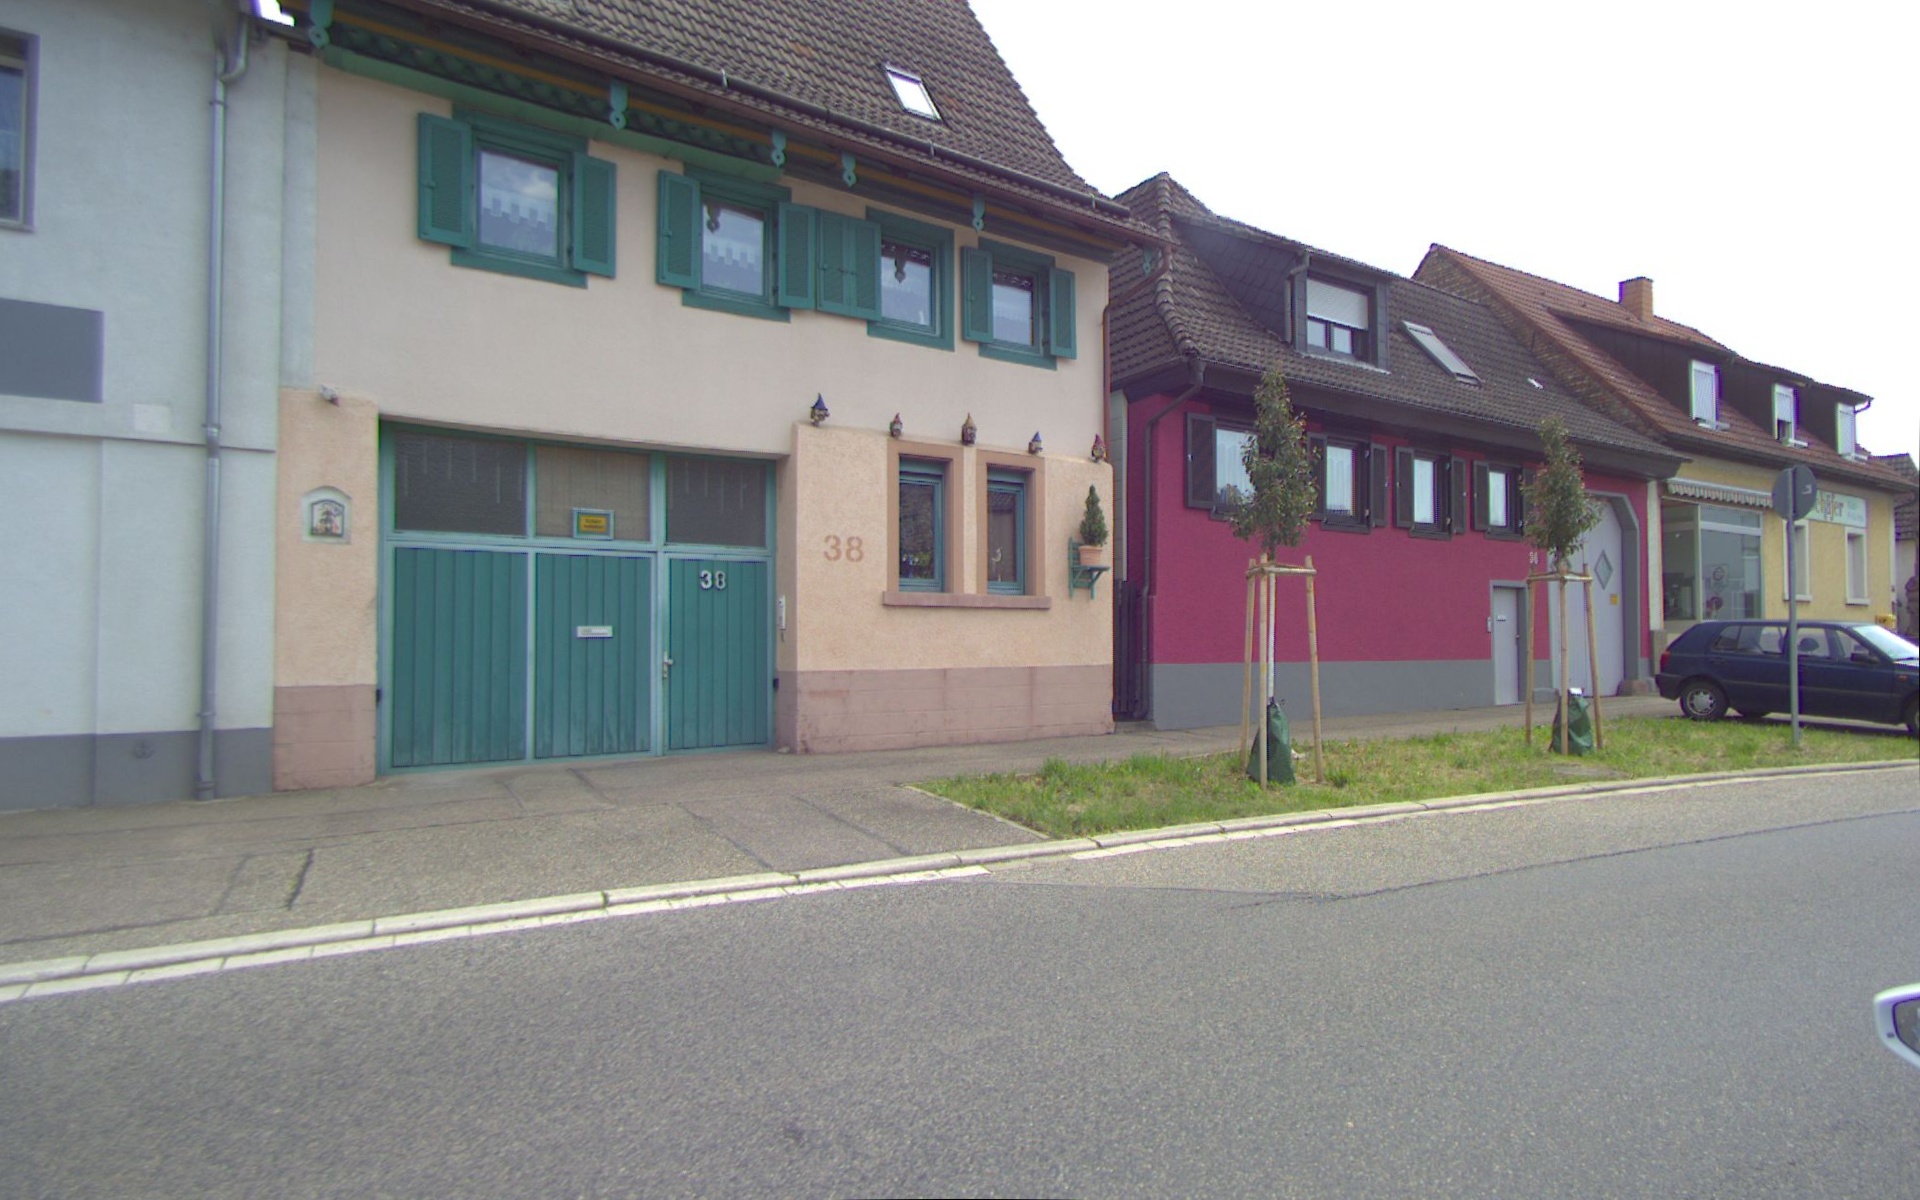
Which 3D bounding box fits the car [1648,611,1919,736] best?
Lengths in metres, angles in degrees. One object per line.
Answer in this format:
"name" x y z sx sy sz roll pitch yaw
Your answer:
"car" 11.659 0.904 13.236 1.701 1.483 3.947 1 -1 -31
